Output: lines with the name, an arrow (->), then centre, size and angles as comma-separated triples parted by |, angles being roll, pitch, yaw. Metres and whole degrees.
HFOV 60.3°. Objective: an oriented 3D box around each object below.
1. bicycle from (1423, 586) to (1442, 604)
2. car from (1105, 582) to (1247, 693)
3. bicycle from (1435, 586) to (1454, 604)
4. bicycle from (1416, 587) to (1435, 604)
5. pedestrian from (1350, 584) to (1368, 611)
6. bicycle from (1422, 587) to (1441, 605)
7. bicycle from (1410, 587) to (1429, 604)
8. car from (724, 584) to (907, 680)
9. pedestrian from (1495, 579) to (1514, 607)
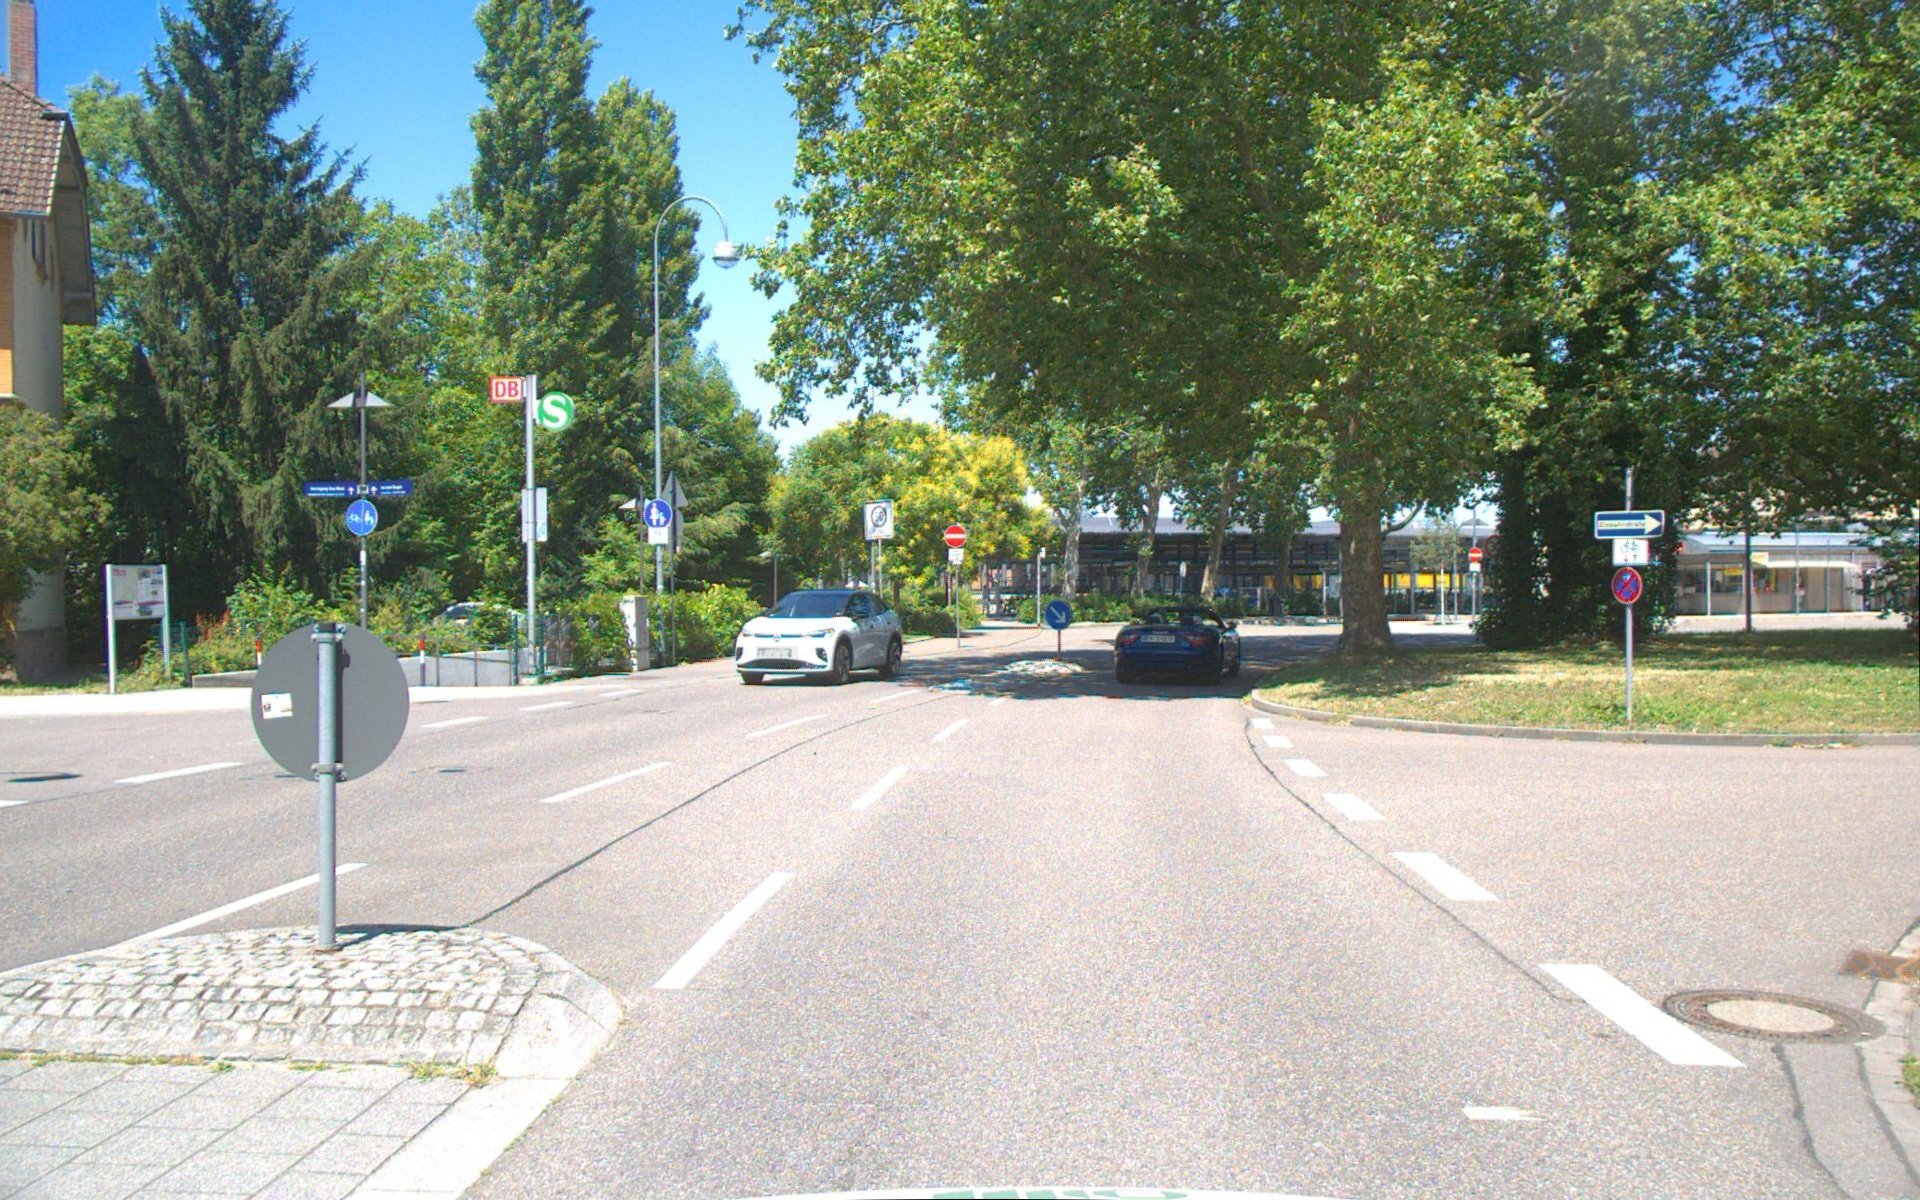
bicycle -> 29.790, -0.305, 104.338 | 0.380, 1.113, 1.375 | 1, -1, -24
car -> 4.030, 0.620, 30.293 | 2.080, 1.880, 4.051 | 0, 1, 15
bicycle -> 30.674, -0.289, 104.660 | 0.380, 1.113, 1.376 | 1, -1, -23
bicycle -> 29.874, -0.281, 106.153 | 0.380, 1.113, 1.376 | 1, -1, -23
pedestrian -> 22.378, -0.136, 92.772 | 0.810, 1.489, 0.601 | -1, 0, -28
bicycle -> 30.330, -0.272, 106.367 | 0.380, 1.113, 1.376 | 1, -1, -23
bicycle -> 29.411, -0.291, 105.839 | 0.380, 1.113, 1.375 | 1, -1, -24
car -> -2.466, 0.507, 29.460 | 1.805, 1.557, 4.342 | 0, 1, 16
pedestrian -> 31.847, -0.400, 96.708 | 0.762, 1.645, 0.808 | 1, -1, -44
